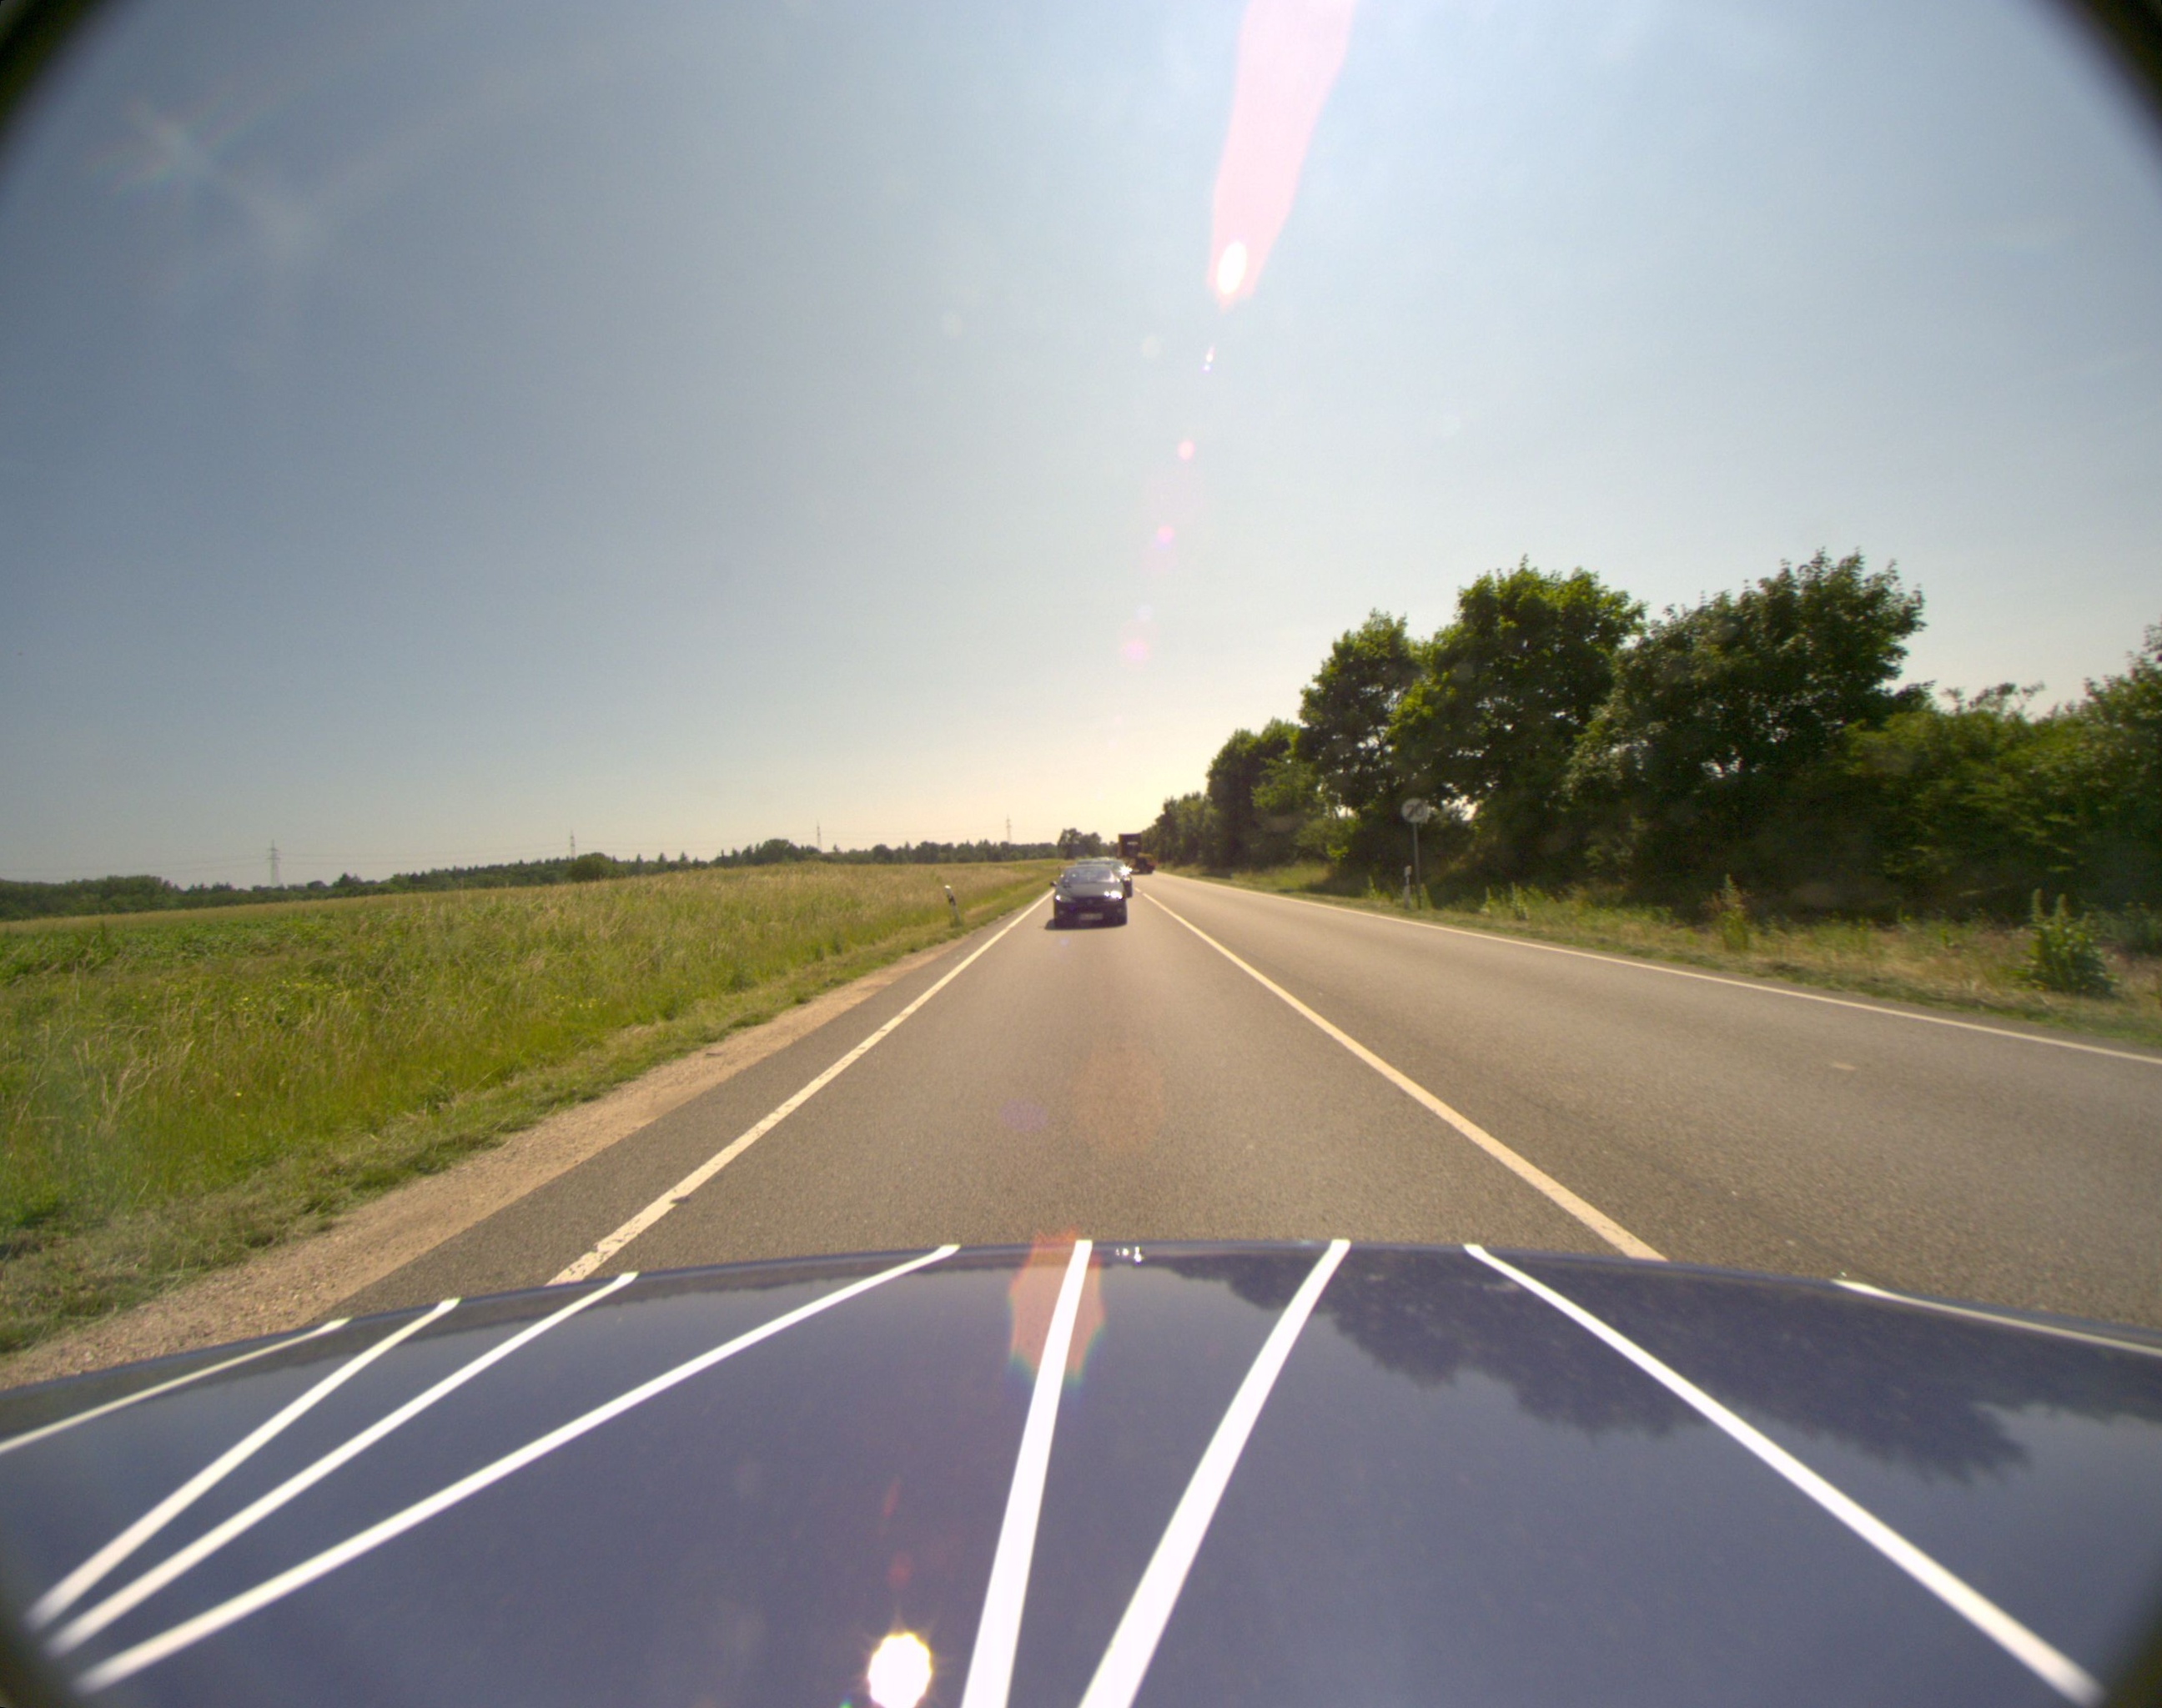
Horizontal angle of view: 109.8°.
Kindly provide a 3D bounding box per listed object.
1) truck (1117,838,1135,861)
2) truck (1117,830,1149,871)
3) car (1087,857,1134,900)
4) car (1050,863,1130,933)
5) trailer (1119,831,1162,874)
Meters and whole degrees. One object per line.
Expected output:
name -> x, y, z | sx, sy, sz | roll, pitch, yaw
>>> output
truck -> 7.654, -0.791, 130.042 | 2.769, 3.711, 10.549 | -3, 0, 3
truck -> 5.264, -0.350, 77.480 | 2.709, 3.908, 5.952 | -2, 0, 0
car -> 1.169, 0.923, 29.789 | 1.665, 1.477, 3.732 | -3, 0, 2
car -> 0.237, 0.981, 18.407 | 1.665, 1.389, 3.731 | -3, 0, 1
trailer -> 5.278, -0.114, 70.384 | 2.669, 3.440, 14.948 | -2, 0, 0
